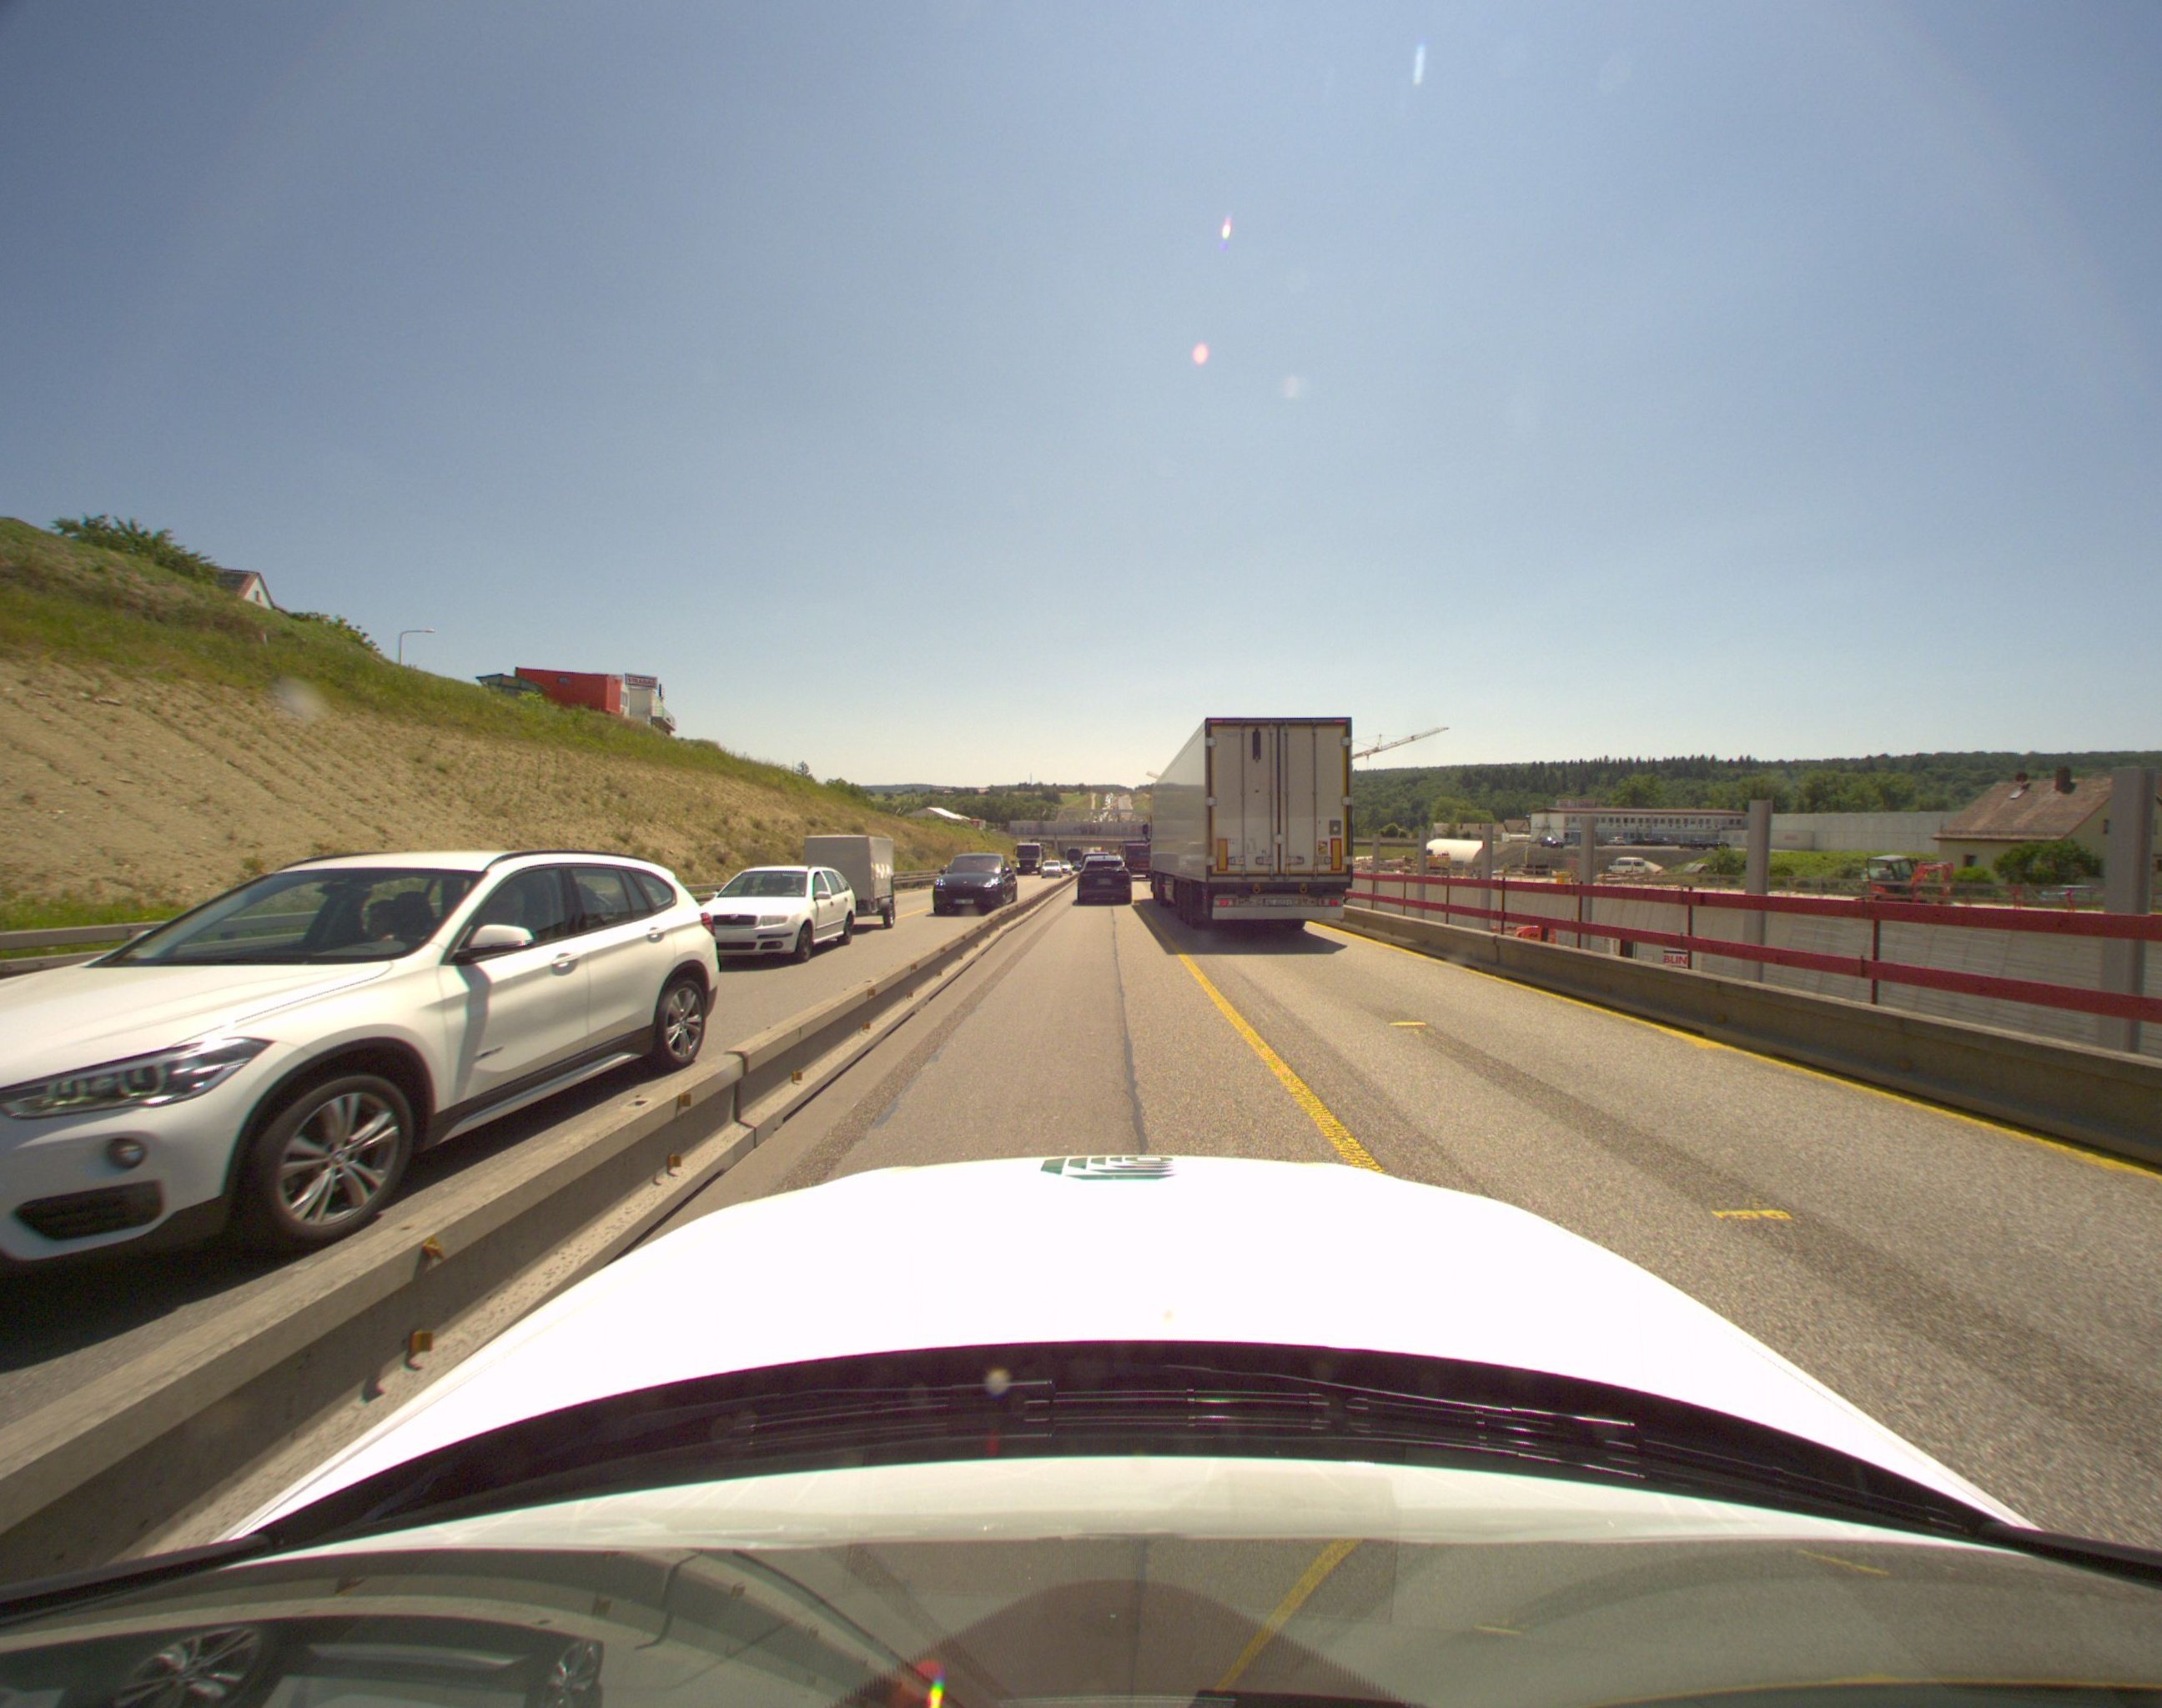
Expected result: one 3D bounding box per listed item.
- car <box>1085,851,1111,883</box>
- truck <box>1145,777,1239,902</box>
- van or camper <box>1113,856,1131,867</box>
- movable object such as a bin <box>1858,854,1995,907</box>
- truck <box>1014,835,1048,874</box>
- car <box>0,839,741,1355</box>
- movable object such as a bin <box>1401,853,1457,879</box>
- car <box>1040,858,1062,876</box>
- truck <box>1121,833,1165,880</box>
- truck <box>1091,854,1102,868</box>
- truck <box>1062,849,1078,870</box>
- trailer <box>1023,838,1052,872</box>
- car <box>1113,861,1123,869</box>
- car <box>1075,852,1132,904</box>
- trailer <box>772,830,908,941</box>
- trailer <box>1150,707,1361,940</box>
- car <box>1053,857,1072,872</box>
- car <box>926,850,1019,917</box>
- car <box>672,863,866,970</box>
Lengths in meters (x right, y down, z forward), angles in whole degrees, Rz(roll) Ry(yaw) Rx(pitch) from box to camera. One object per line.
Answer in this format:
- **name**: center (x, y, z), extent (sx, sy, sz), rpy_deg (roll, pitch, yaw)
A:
- **car**: center (0.999, 0.741, 48.038), extent (1.469, 1.795, 3.299), rpy_deg (-1, 0, 2)
- **truck**: center (3.852, -0.457, 29.197), extent (2.766, 4.058, 4.905), rpy_deg (-1, -1, 1)
- **van or camper**: center (12.693, 2.256, 250.777), extent (3.942, 3.419, 8.380), rpy_deg (0, 0, -9)
- **movable object such as a bin**: center (38.080, 1.127, 36.860), extent (1.986, 2.239, 4.154), rpy_deg (0, 0, 2)
- **truck**: center (-5.086, 0.068, 84.441), extent (2.577, 3.723, 9.335), rpy_deg (-1, 0, 2)
- **car**: center (-3.782, 0.757, 4.664), extent (1.809, 1.592, 4.290), rpy_deg (0, 0, 1)
- **movable object such as a bin**: center (40.657, 1.337, 95.481), extent (2.876, 2.909, 9.484), rpy_deg (0, 0, 2)
- **car**: center (-2.514, 1.084, 68.117), extent (1.679, 1.430, 3.292), rpy_deg (-1, 0, 0)
- **truck**: center (4.484, 0.212, 60.855), extent (2.803, 3.135, 12.844), rpy_deg (-1, 0, 2)
- **truck**: center (3.460, 1.490, 175.662), extent (2.259, 2.882, 5.853), rpy_deg (-1, -1, 2)
- **truck**: center (-1.943, 1.042, 149.352), extent (2.757, 3.884, 4.965), rpy_deg (0, -1, 1)
- **trailer**: center (-4.865, 0.116, 92.386), extent (2.577, 3.637, 9.081), rpy_deg (-1, 0, 2)
- **car**: center (6.039, 1.778, 132.539), extent (1.534, 1.206, 3.310), rpy_deg (-1, 0, -1)
- **car**: center (0.780, 0.783, 27.872), extent (1.794, 1.620, 3.299), rpy_deg (-1, 0, 1)
- **trailer**: center (-4.928, 0.585, 17.274), extent (1.642, 2.025, 4.268), rpy_deg (-1, 0, -1)
- **trailer**: center (3.659, -0.473, 21.347), extent (2.791, 4.058, 14.120), rpy_deg (-1, -1, 1)
- **car**: center (-1.783, 1.022, 79.775), extent (1.679, 1.430, 4.122), rpy_deg (-1, 0, 0)
- **car**: center (-3.011, 0.788, 23.567), extent (1.883, 1.708, 4.563), rpy_deg (-1, 0, 2)
- **car**: center (-4.864, 0.886, 13.312), extent (1.642, 1.415, 3.998), rpy_deg (-1, 0, -1)
